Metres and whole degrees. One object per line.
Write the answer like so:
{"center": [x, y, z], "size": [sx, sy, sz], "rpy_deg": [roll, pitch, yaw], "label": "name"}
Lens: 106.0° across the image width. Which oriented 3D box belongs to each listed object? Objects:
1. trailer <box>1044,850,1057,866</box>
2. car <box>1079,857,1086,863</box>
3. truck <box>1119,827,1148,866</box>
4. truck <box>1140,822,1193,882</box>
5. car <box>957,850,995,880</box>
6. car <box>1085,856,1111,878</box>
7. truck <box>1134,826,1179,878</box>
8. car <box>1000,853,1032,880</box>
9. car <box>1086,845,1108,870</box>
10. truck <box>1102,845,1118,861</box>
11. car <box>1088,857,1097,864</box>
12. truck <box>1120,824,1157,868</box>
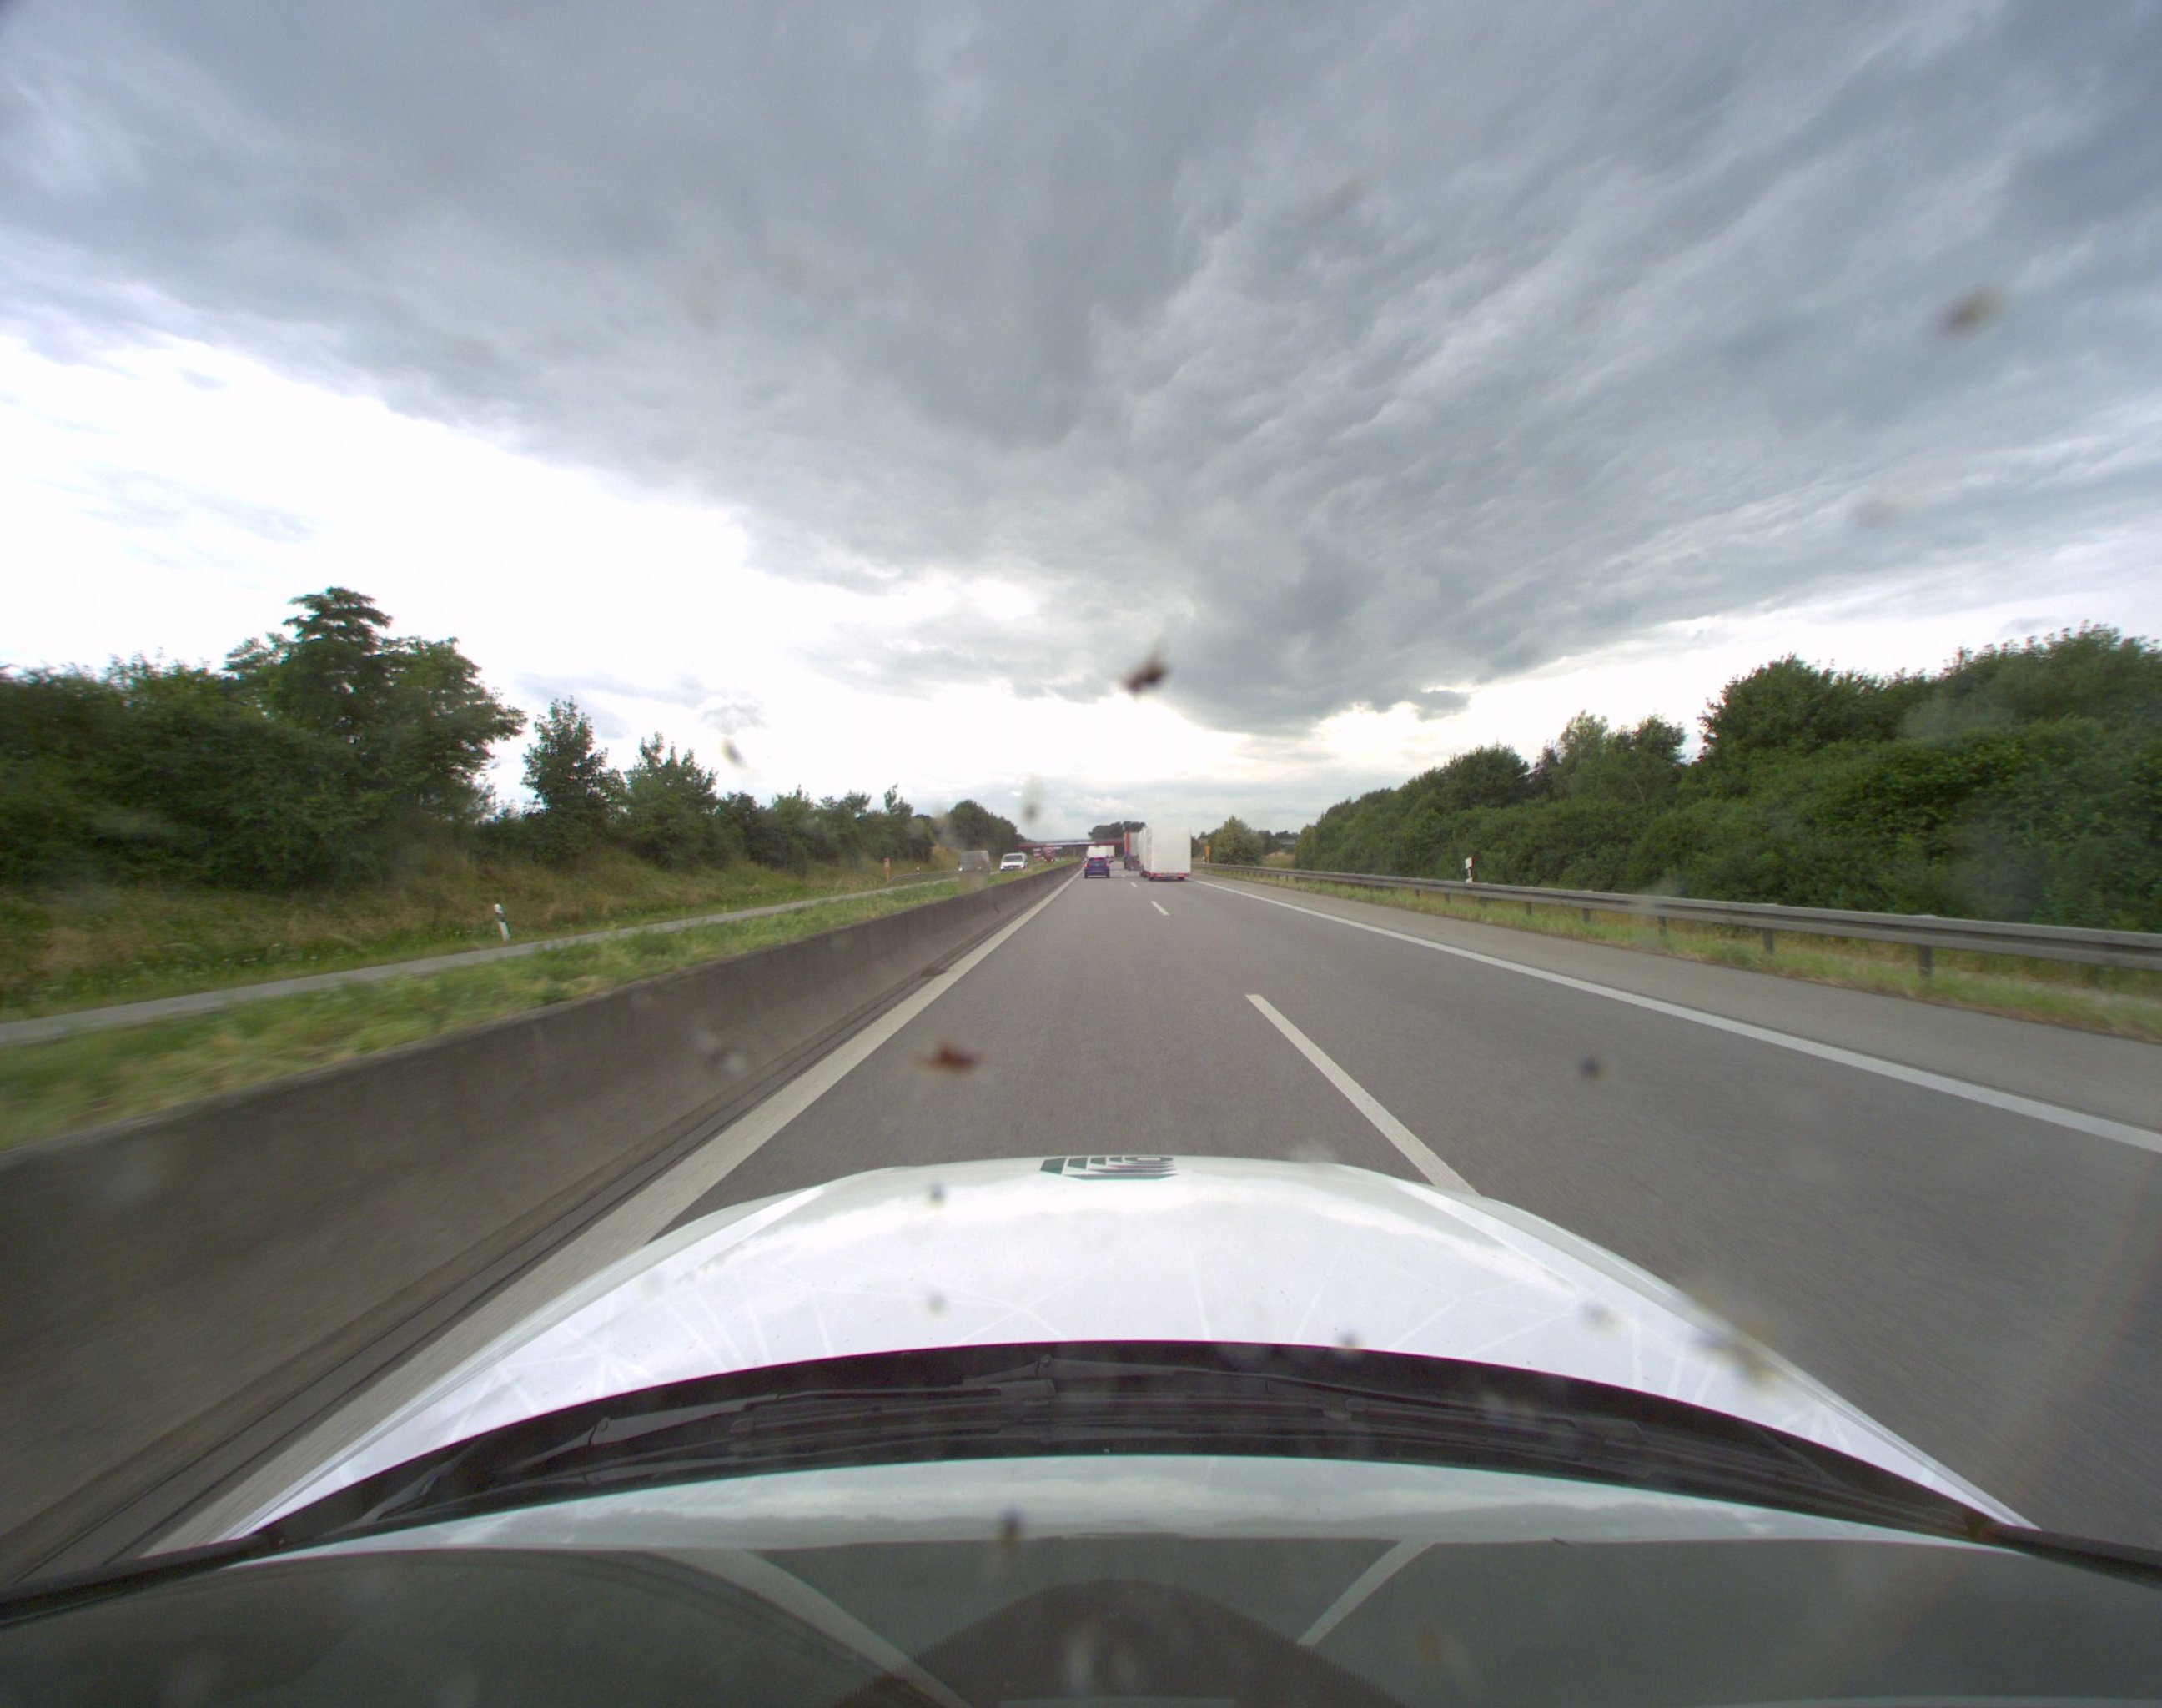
{"center": [-8.161, 1.114, 222.634], "size": [2.697, 4.088, 14.596], "rpy_deg": [-4, 0, 0], "label": "trailer"}
{"center": [0.400, 1.640, 223.461], "size": [1.987, 1.684, 3.999], "rpy_deg": [-1, 0, 0], "label": "car"}
{"center": [5.673, -0.819, 88.813], "size": [2.666, 4.045, 5.509], "rpy_deg": [-2, 0, -1], "label": "truck"}
{"center": [4.946, -0.115, 48.119], "size": [2.407, 3.222, 7.143], "rpy_deg": [-1, 0, 0], "label": "truck"}
{"center": [-9.245, 0.951, 72.208], "size": [2.162, 2.465, 6.724], "rpy_deg": [-4, 0, 1], "label": "car"}
{"center": [1.184, 0.837, 55.342], "size": [1.657, 1.407, 3.650], "rpy_deg": [-1, 0, 2], "label": "car"}
{"center": [5.012, -0.124, 55.313], "size": [2.421, 3.243, 7.247], "rpy_deg": [-1, 0, 0], "label": "truck"}
{"center": [-5.096, 0.919, 64.633], "size": [1.972, 2.013, 5.131], "rpy_deg": [-1, 0, 1], "label": "car"}
{"center": [1.601, 0.387, 85.133], "size": [2.123, 2.482, 5.838], "rpy_deg": [-2, 0, 0], "label": "car"}
{"center": [6.946, -0.205, 196.537], "size": [3.101, 3.689, 9.319], "rpy_deg": [-4, 0, -1], "label": "truck"}
{"center": [2.592, 1.451, 189.826], "size": [1.929, 1.643, 4.902], "rpy_deg": [-2, 0, 0], "label": "car"}
{"center": [5.758, -0.795, 83.409], "size": [2.666, 4.045, 11.101], "rpy_deg": [-2, 0, -1], "label": "truck"}
